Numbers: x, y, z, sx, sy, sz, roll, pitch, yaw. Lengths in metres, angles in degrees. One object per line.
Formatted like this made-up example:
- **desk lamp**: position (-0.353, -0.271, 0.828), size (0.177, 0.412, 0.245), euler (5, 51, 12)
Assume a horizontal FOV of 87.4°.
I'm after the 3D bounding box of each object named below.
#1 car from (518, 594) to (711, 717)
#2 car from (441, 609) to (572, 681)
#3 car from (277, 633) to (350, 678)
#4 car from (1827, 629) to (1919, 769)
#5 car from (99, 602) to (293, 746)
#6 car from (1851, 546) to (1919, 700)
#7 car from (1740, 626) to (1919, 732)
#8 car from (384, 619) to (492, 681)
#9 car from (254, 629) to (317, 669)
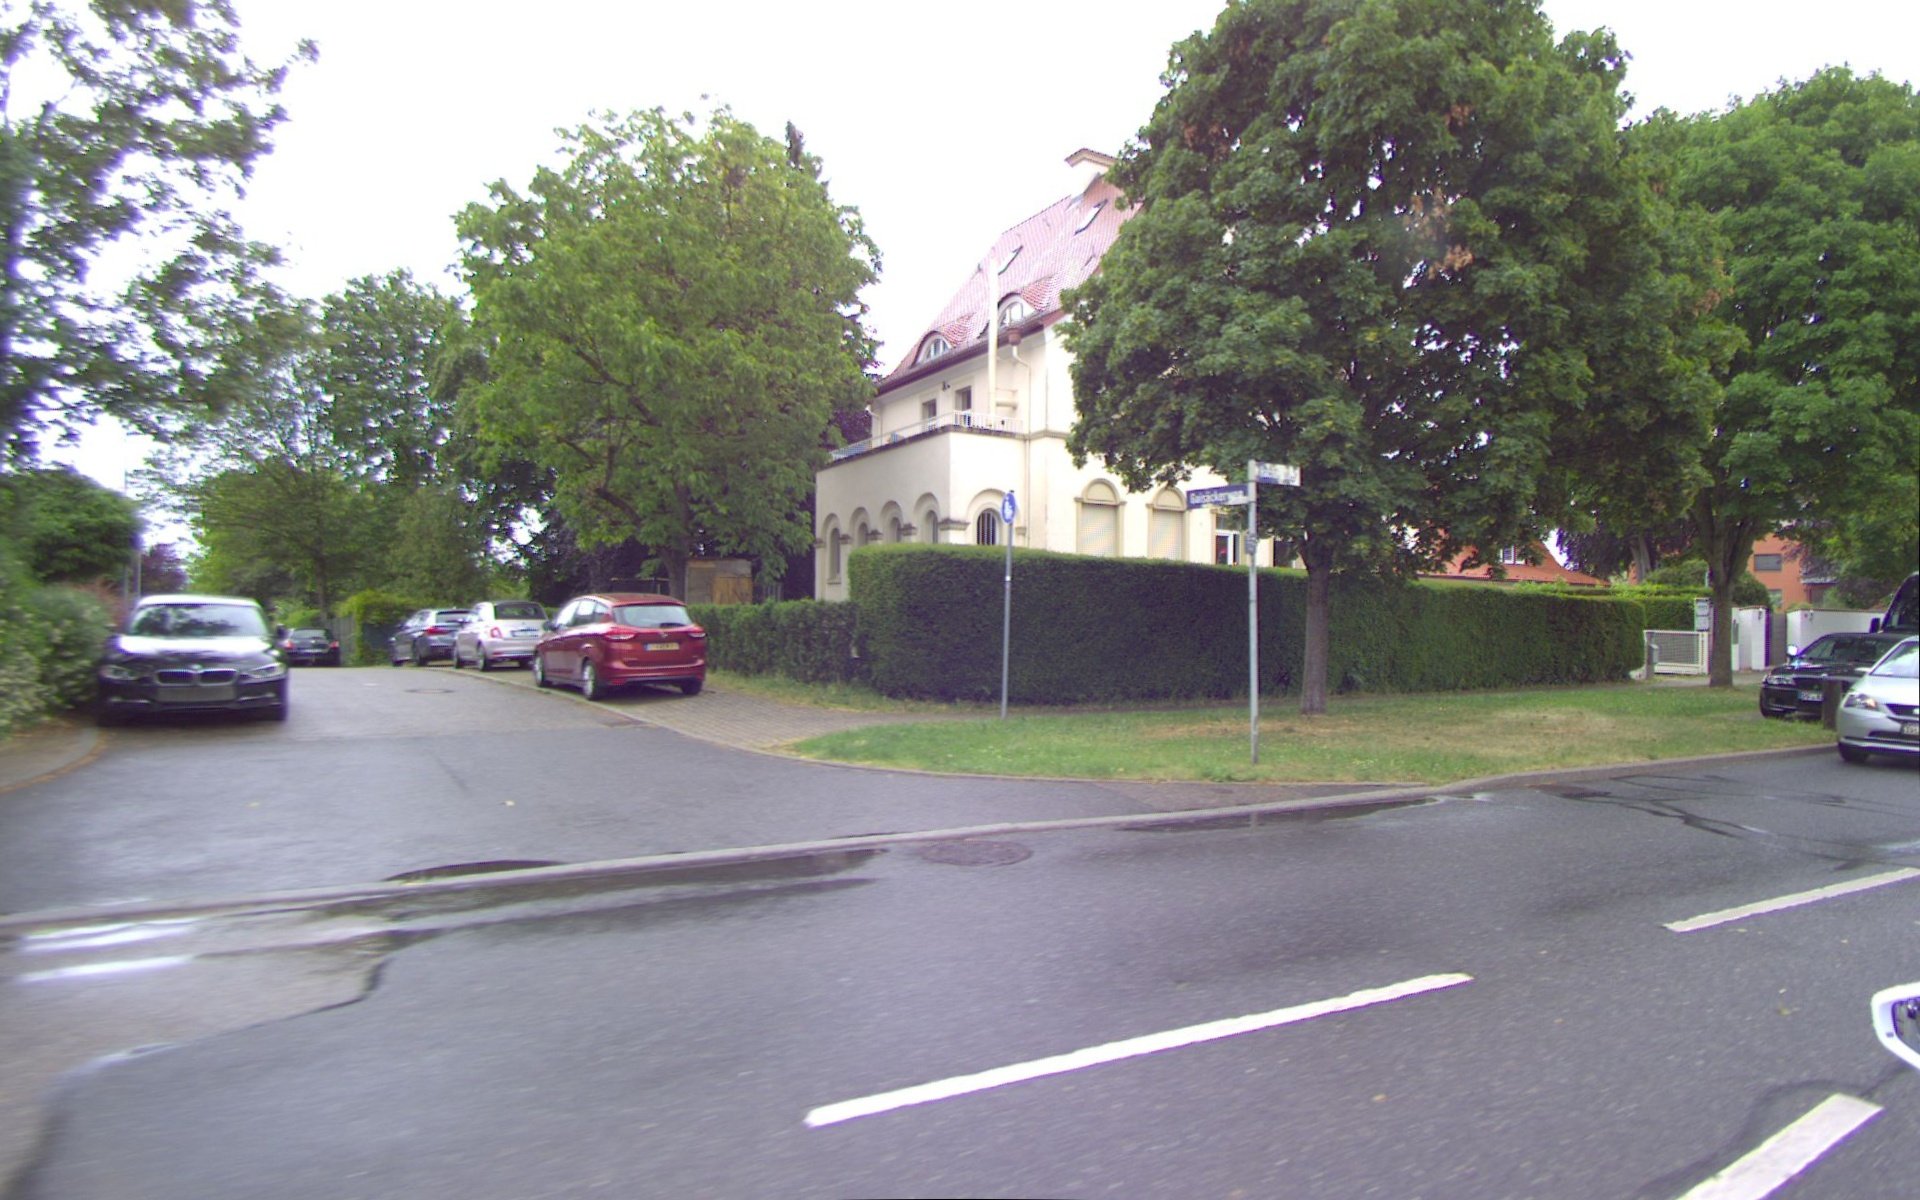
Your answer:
- **car**: position (-5.744, 0.787, 16.451), size (1.679, 1.674, 3.982), euler (-2, 2, -40)
- **car**: position (-10.288, 0.974, 22.625), size (1.679, 1.433, 3.983), euler (-2, 0, -40)
- **car**: position (-22.908, 1.987, 35.541), size (1.679, 1.433, 3.984), euler (-2, -2, -40)
- **car**: position (11.752, 1.096, 11.589), size (3.411, 1.483, 1.587), euler (1, -1, -29)
- **car**: position (-9.583, 0.802, 12.549), size (1.679, 1.493, 3.982), euler (1, -1, -40)
- **car**: position (19.708, 0.447, 19.559), size (5.873, 2.765, 1.982), euler (1, 1, -33)
- **car**: position (13.900, 1.162, 15.619), size (3.786, 1.427, 1.712), euler (2, -1, -34)
- **car**: position (-13.701, 1.266, 26.248), size (1.679, 1.433, 3.983), euler (-2, 0, -40)
- **car**: position (-27.015, 1.977, 40.185), size (1.679, 1.433, 3.984), euler (-2, -2, -40)
